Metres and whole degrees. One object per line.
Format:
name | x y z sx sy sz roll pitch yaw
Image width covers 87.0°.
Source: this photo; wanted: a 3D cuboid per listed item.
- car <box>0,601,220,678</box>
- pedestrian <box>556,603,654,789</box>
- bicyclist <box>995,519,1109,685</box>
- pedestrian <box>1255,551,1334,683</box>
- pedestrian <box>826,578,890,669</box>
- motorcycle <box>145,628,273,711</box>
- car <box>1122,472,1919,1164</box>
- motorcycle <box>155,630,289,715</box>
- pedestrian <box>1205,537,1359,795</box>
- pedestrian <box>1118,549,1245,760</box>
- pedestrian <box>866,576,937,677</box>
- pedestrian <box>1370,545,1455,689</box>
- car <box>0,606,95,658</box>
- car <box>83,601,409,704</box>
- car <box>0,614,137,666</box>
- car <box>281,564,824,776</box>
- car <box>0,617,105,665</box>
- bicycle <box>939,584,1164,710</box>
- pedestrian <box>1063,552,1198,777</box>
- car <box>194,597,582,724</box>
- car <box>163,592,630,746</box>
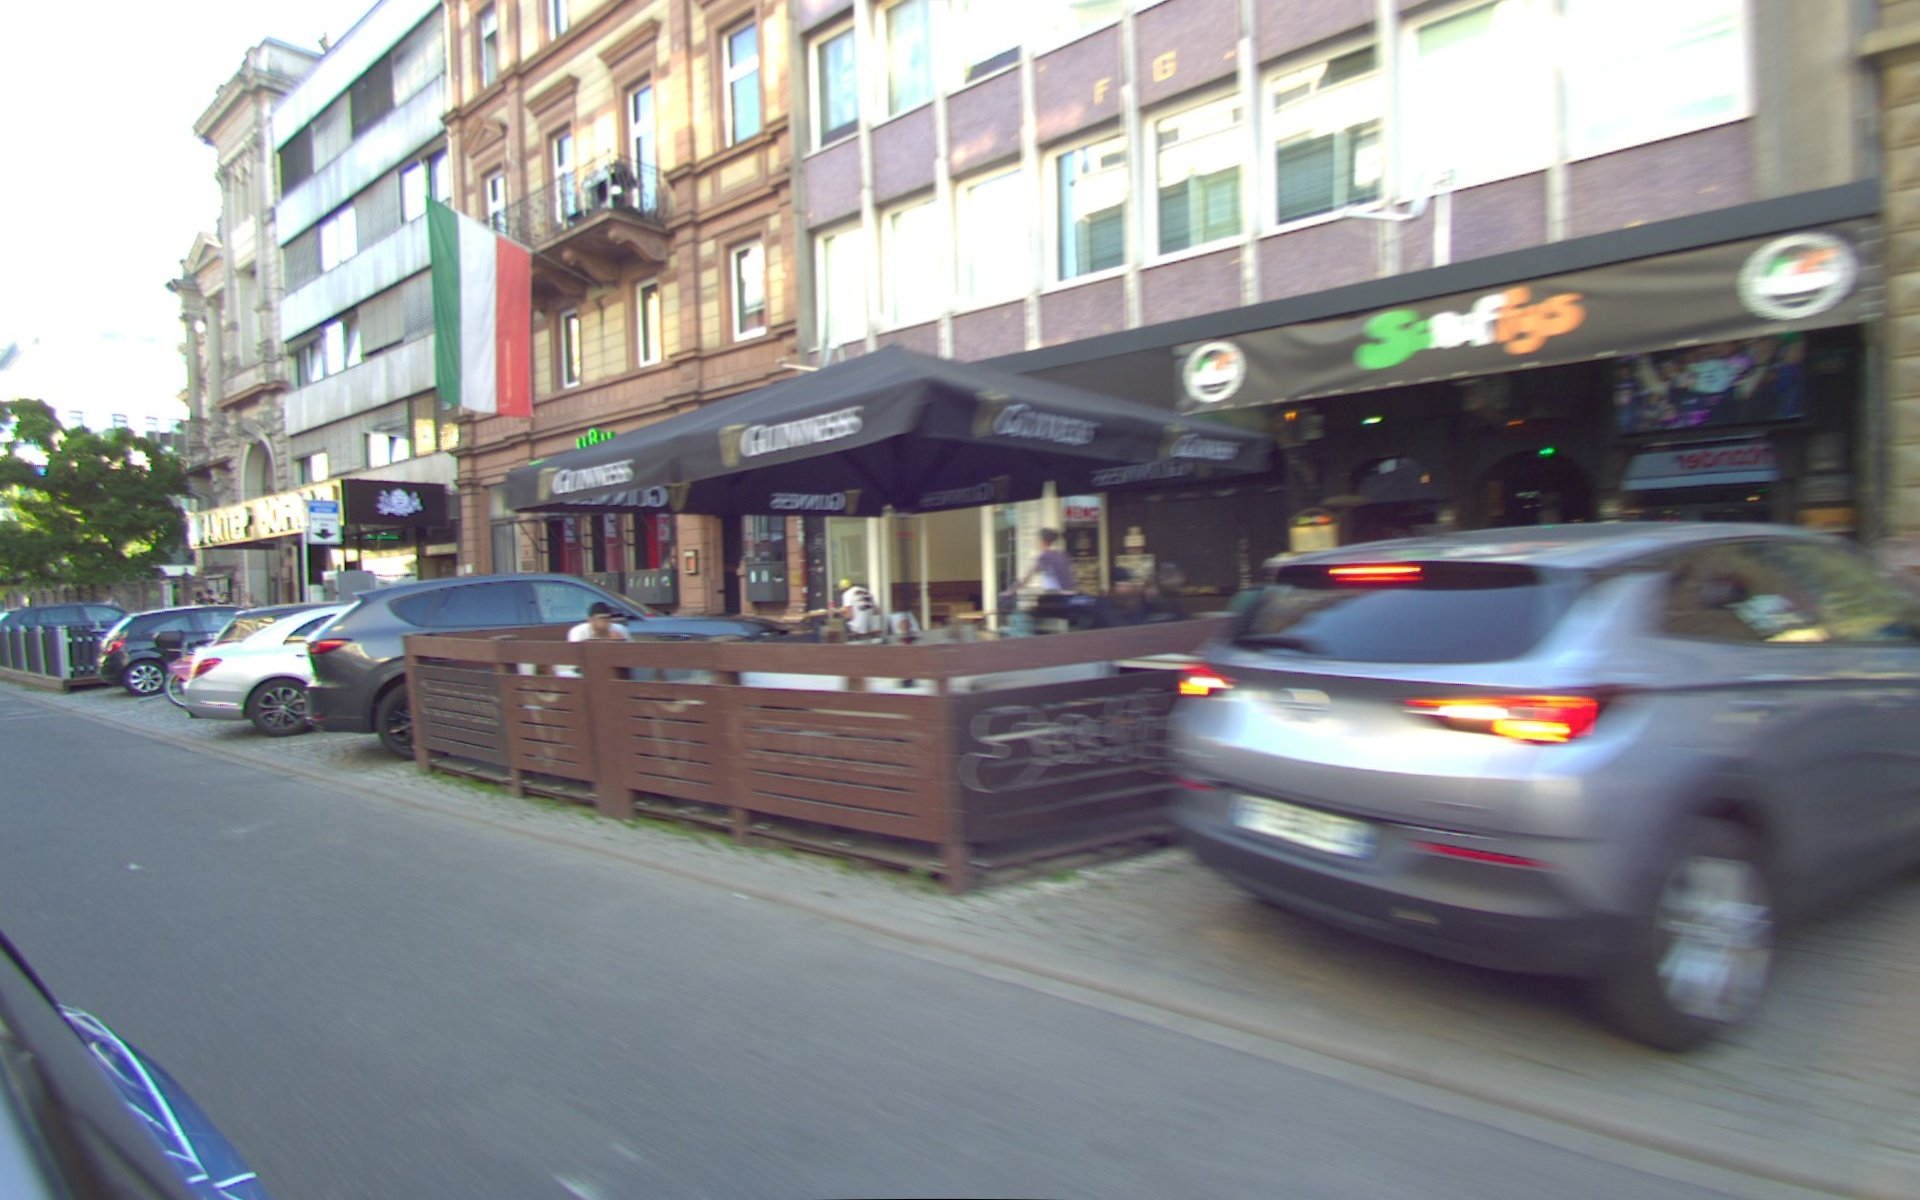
car | -22.934 1.008 27.149 4.768 1.787 1.911 -2 0 -42
pedestrian | -2.893 0.750 8.233 0.567 1.427 0.542 -2 0 -38
bicyclist | 0.923 0.010 10.096 0.812 1.571 0.758 -1 2 39
pedestrian | 3.467 0.166 10.478 0.575 1.318 0.566 -1 0 41
pedestrian | -1.452 0.322 14.367 0.675 1.254 0.569 -2 0 40
motorcycle | -11.715 1.069 15.844 1.561 1.166 0.459 -2 1 -35
car | 2.863 0.403 4.158 3.983 1.640 1.859 -4 2 -29
motorcycle | -10.952 1.052 15.075 1.561 1.133 0.514 -2 1 -35
pedestrian | 1.916 0.365 6.024 0.675 1.427 0.569 -2 0 40
pedestrian | 1.596 0.369 7.289 0.675 1.427 0.569 -2 0 40
pedestrian | -0.753 0.334 13.002 0.675 1.254 0.569 -2 0 40
pedestrian | 4.315 0.155 9.653 0.575 1.318 0.566 -1 0 41
car | -38.321 1.311 41.421 4.358 1.977 1.911 -2 0 -42
car | -13.366 0.892 19.191 1.909 1.579 4.772 -2 0 44
car | -28.752 1.262 31.833 4.358 1.436 1.911 -2 0 -42
car | -4.016 0.581 10.540 4.758 1.746 1.914 -2 0 -23
car | -31.597 1.392 33.955 4.358 1.436 1.911 -2 0 -42
bicycle | 0.876 0.433 10.154 2.176 1.123 0.758 -1 2 40
pedestrian | 1.159 0.409 6.867 0.675 1.427 0.569 -2 0 40
car | -8.361 0.796 15.205 4.759 1.515 1.914 -2 0 -29
car | -6.693 0.745 12.665 4.758 1.515 1.914 -2 0 -20
